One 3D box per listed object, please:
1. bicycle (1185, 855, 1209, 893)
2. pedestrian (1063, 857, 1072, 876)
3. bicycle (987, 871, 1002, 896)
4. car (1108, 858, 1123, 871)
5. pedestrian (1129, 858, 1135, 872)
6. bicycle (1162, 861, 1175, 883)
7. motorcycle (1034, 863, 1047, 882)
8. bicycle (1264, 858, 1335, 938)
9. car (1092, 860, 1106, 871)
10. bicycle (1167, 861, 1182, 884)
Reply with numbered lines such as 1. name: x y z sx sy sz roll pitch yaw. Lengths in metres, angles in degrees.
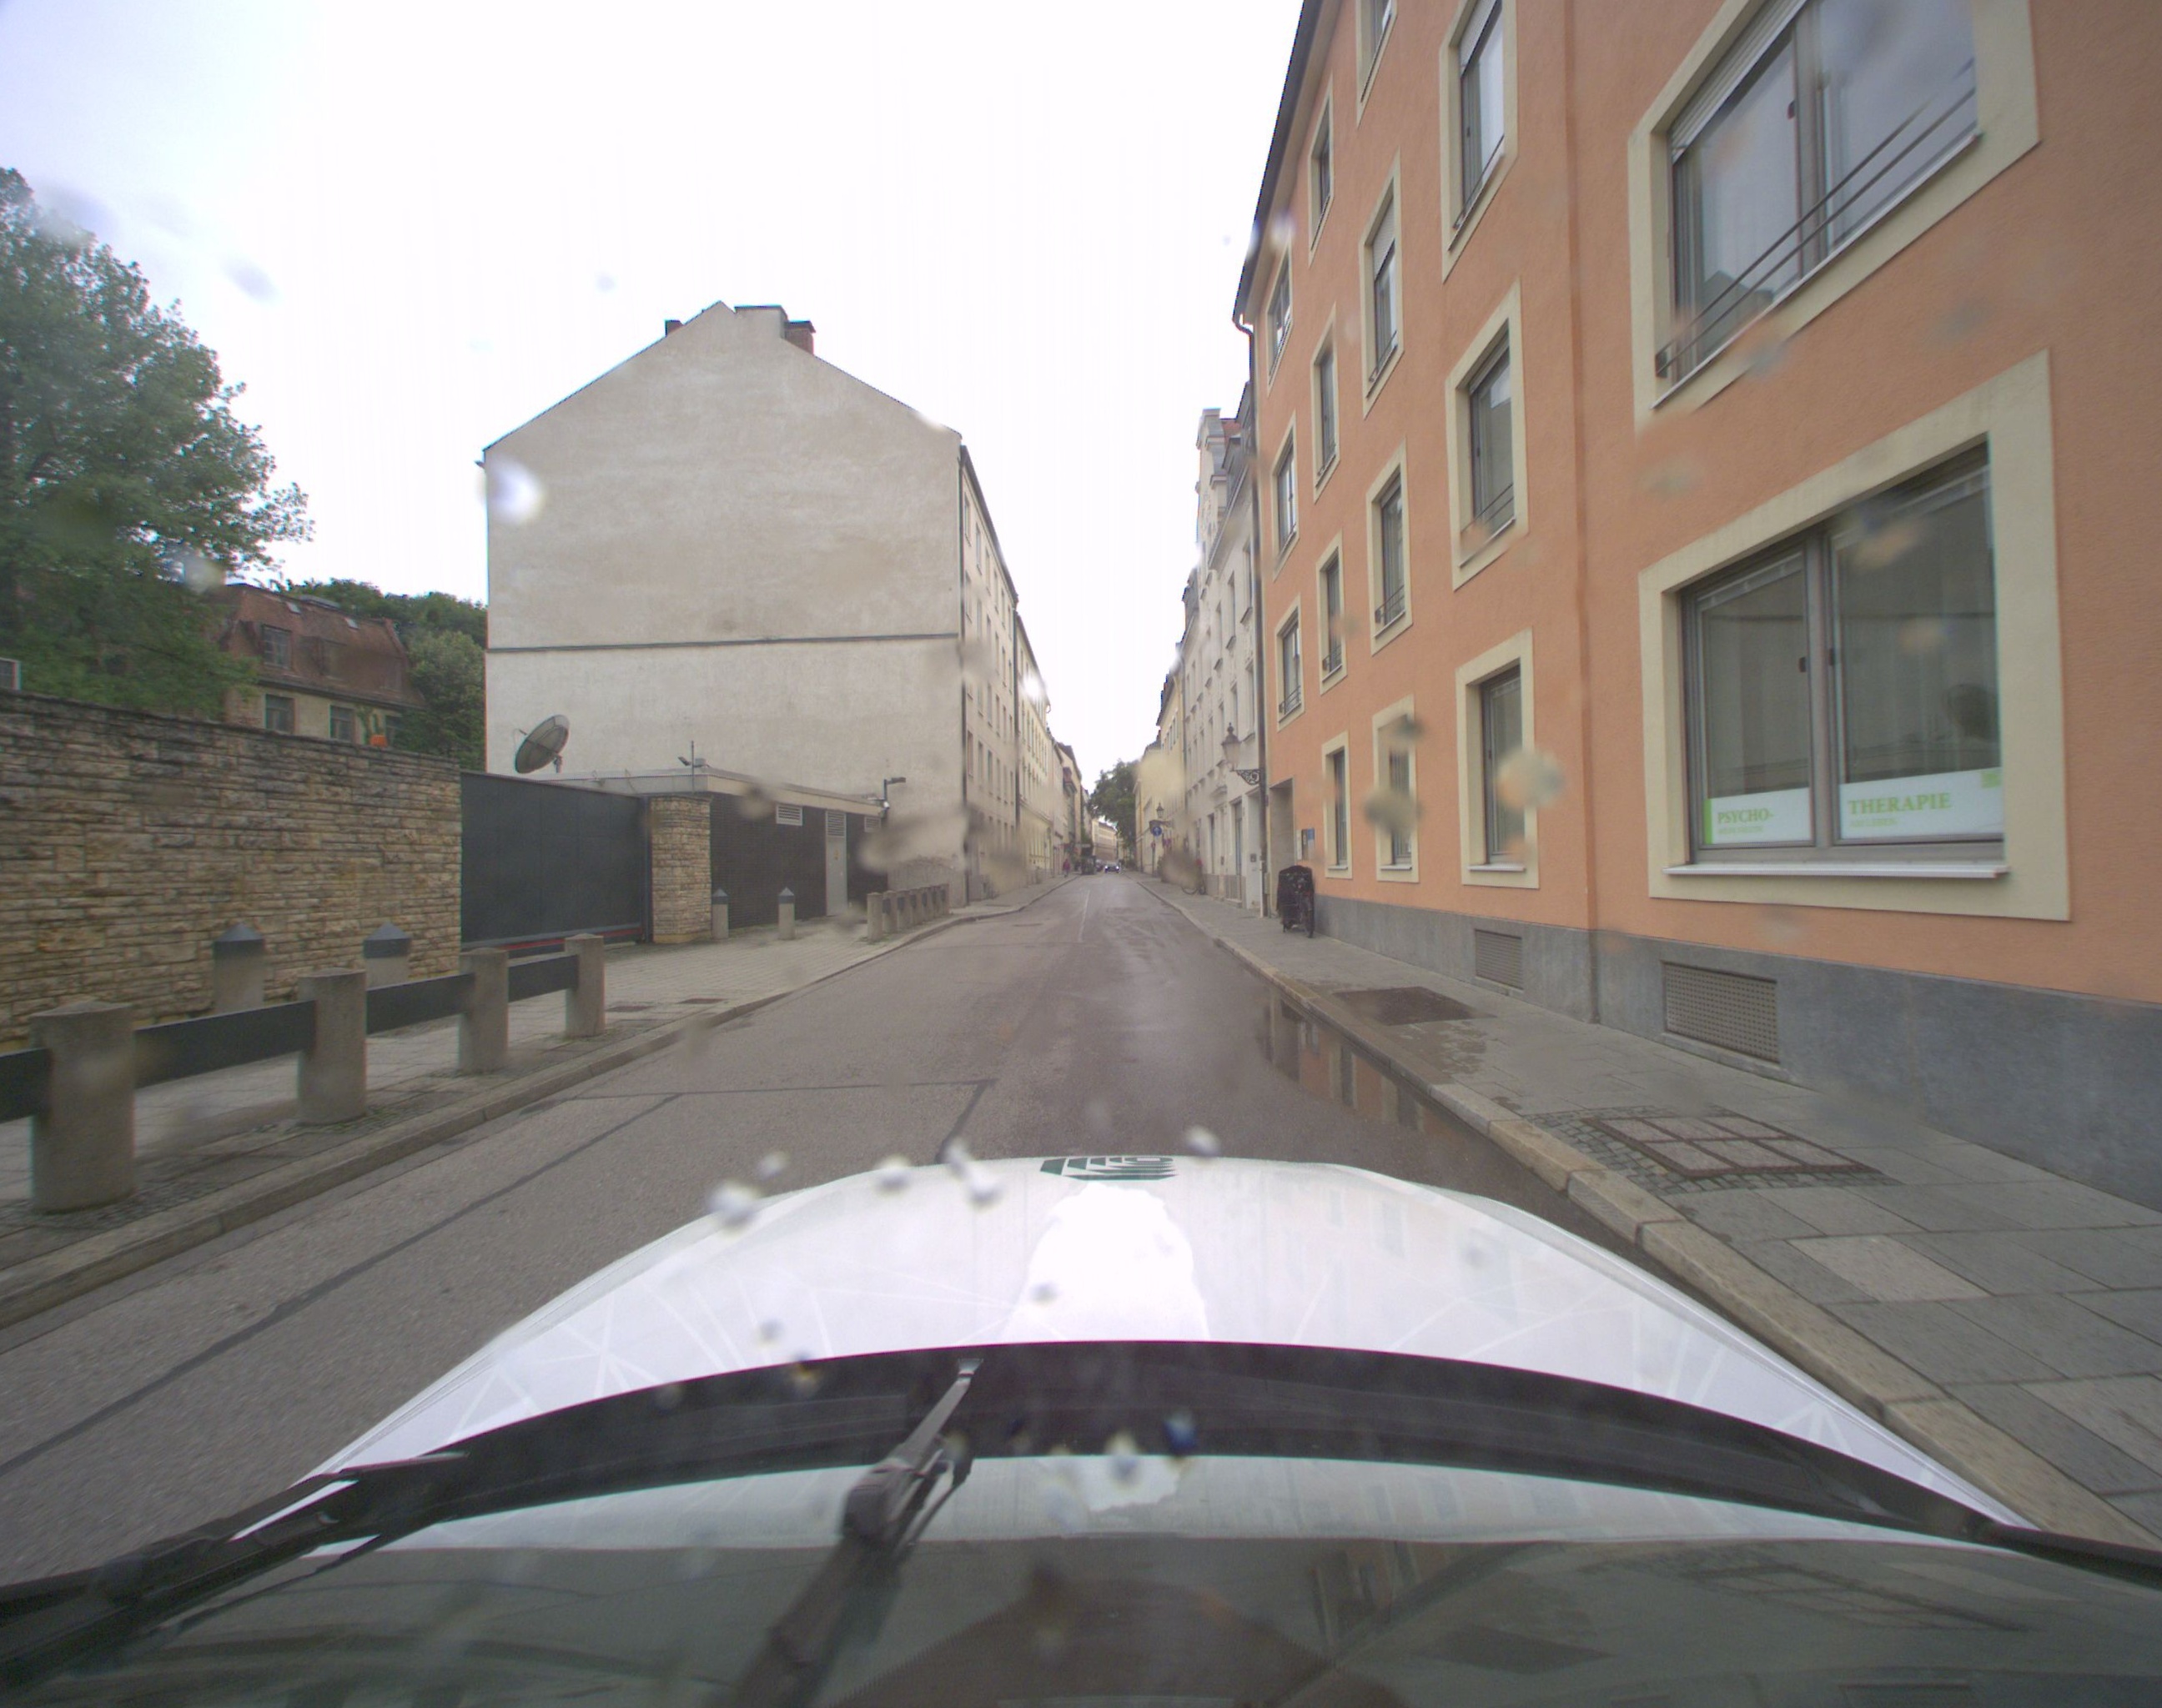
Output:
1. bicycle: 4.496 0.762 31.701 0.710 1.396 2.124 -4 0 4
2. pedestrian: -1.234 1.110 74.203 0.763 1.708 0.785 -2 -1 -1
3. bicycle: -3.472 1.172 32.823 0.318 0.944 1.575 1 0 4
4. car: 4.416 1.323 105.428 1.806 1.594 4.000 -1 0 1
5. pedestrian: 6.766 1.441 108.036 0.877 1.802 1.047 0 -1 2
6. bicycle: 4.839 0.970 45.006 0.563 1.137 1.685 -3 0 3
7. motorcycle: -2.526 1.149 51.032 0.599 1.174 1.709 -1 0 2
8. bicycle: 3.908 0.741 14.759 0.676 1.240 2.384 -6 0 4
9. car: 2.573 1.604 114.301 1.771 1.466 3.667 0 0 5
10. bicycle: 4.895 0.960 42.784 0.563 1.137 1.989 -3 0 3
